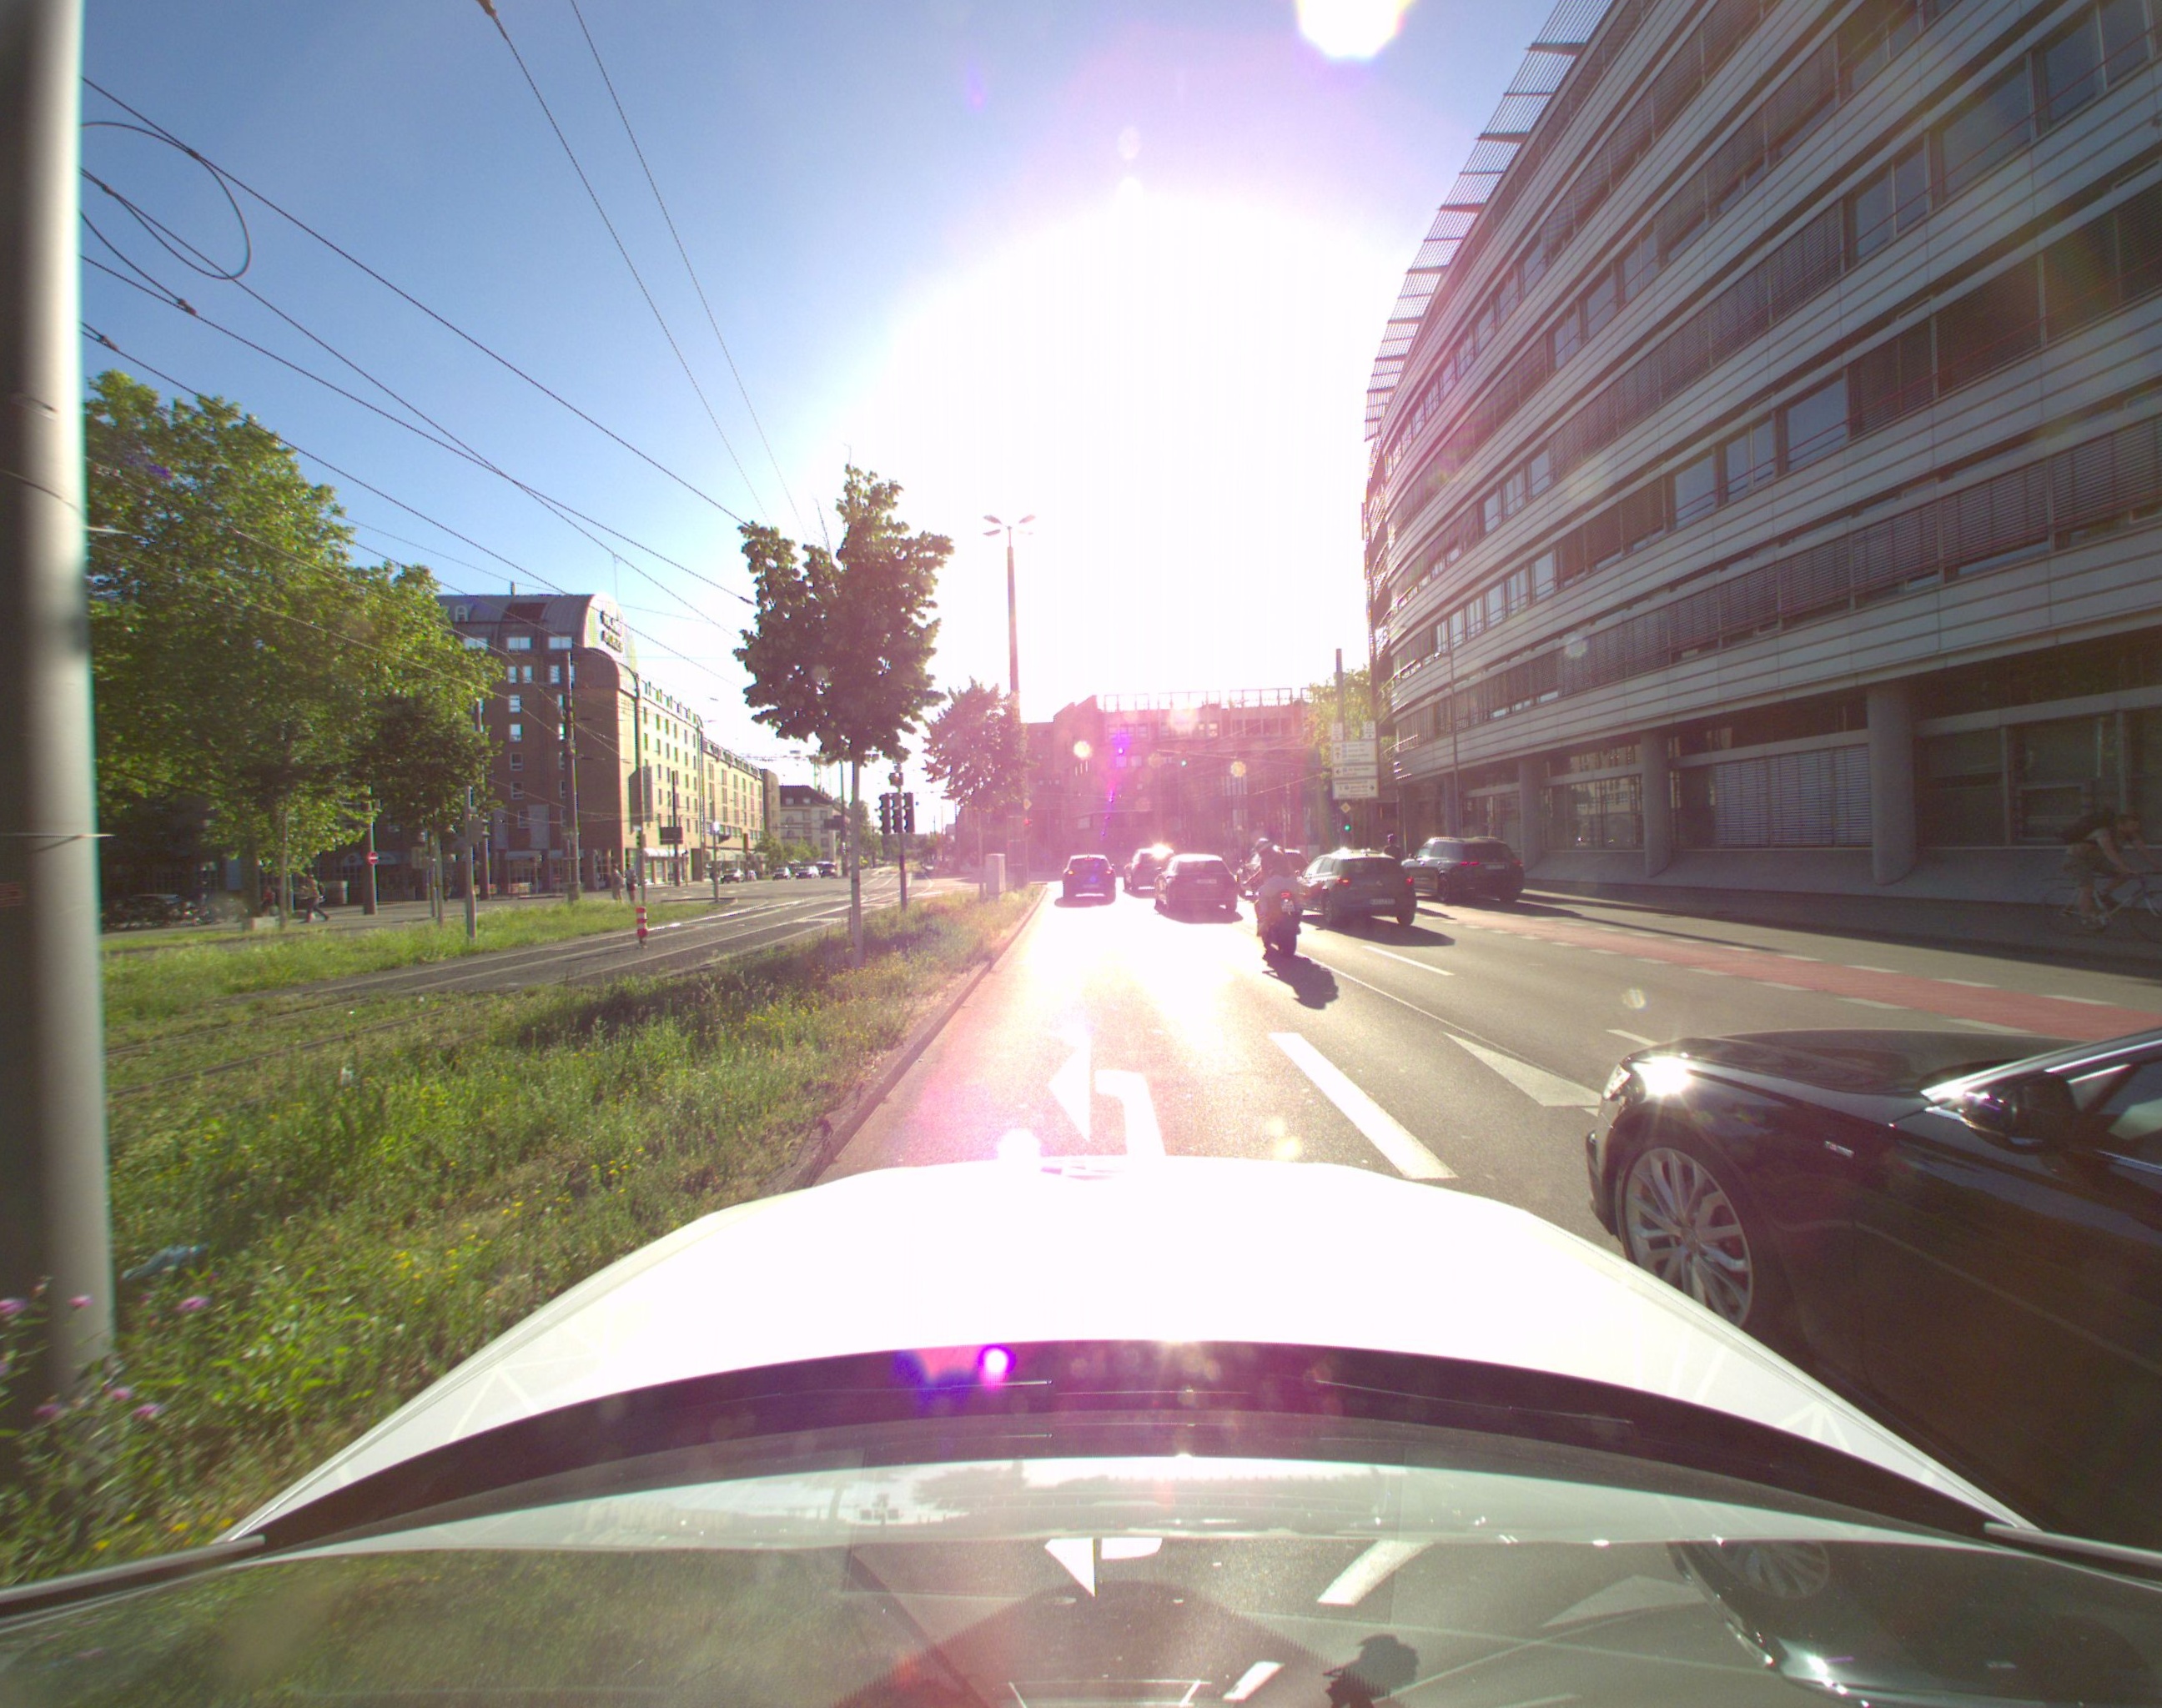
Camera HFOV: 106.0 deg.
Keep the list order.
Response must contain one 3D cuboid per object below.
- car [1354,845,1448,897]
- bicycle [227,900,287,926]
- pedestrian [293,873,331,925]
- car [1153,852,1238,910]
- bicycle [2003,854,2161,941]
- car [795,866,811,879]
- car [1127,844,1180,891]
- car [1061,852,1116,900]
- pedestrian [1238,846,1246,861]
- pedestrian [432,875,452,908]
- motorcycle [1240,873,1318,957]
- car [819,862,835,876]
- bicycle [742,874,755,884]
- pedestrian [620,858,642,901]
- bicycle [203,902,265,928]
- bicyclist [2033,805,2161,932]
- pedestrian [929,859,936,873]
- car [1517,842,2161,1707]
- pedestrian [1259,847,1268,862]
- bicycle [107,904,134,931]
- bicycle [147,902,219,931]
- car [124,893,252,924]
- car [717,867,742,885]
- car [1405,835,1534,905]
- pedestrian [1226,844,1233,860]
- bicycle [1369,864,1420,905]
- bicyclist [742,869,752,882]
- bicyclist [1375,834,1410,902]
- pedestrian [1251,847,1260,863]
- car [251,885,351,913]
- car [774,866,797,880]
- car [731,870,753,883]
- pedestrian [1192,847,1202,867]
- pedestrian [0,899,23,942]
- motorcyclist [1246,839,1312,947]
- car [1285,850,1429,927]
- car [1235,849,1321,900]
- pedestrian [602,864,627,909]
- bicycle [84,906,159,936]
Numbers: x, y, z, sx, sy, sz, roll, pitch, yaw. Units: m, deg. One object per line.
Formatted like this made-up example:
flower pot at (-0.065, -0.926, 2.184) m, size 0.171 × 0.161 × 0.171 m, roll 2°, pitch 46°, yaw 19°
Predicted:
car at (11.185, 0.549, 28.769) m, size 1.984 × 1.651 × 4.005 m, roll -2°, pitch 0°, yaw 4°
bicycle at (-34.368, 2.464, 33.983) m, size 1.764 × 0.951 × 0.540 m, roll -2°, pitch 0°, yaw -8°
pedestrian at (-31.071, 1.807, 32.909) m, size 0.729 × 2.014 × 0.838 m, roll -1°, pitch 0°, yaw 4°
car at (2.953, 0.651, 21.737) m, size 1.731 × 1.349 × 4.001 m, roll -2°, pitch 0°, yaw 1°
bicycle at (13.659, 0.548, 10.957) m, size 0.502 × 1.058 × 1.702 m, roll -4°, pitch -1°, yaw 1°
car at (-33.759, 2.239, 99.001) m, size 1.749 × 1.505 × 3.857 m, roll -2°, pitch 0°, yaw -17°
car at (2.756, 0.495, 31.686) m, size 1.731 × 1.651 × 4.001 m, roll -2°, pitch 0°, yaw 1°
car at (0.272, 0.692, 27.229) m, size 1.643 × 1.433 × 4.001 m, roll -2°, pitch 0°, yaw 1°
pedestrian at (17.763, -0.056, 89.705) m, size 0.734 × 1.617 × 0.562 m, roll -2°, pitch 0°, yaw 8°
pedestrian at (-40.201, 2.333, 51.262) m, size 0.663 × 2.013 × 0.678 m, roll -2°, pitch 0°, yaw 0°
motorcycle at (2.994, 0.887, 12.523) m, size 0.772 × 1.115 × 1.970 m, roll -2°, pitch 0°, yaw 3°
car at (-30.658, 1.792, 98.330) m, size 1.749 × 1.505 × 3.857 m, roll -2°, pitch 0°, yaw -17°
bicycle at (-37.534, 2.809, 91.962) m, size 0.649 × 1.085 × 2.918 m, roll -2°, pitch 0°, yaw -8°
pedestrian at (-19.416, 1.097, 35.122) m, size 0.562 × 1.817 × 0.661 m, roll -2°, pitch 0°, yaw -7°
bicycle at (-34.450, 2.463, 33.144) m, size 1.764 × 0.951 × 0.540 m, roll -2°, pitch 0°, yaw -8°
bicyclist at (13.788, 0.178, 10.992) m, size 0.681 × 1.618 × 0.991 m, roll -2°, pitch 0°, yaw 1°
pedestrian at (-18.700, 1.513, 102.324) m, size 0.743 × 1.640 × 0.764 m, roll -2°, pitch 0°, yaw -14°
car at (2.630, 0.731, 1.138) m, size 1.804 × 1.492 × 4.499 m, roll 0°, pitch 0°, yaw 2°
pedestrian at (19.920, 0.052, 89.055) m, size 0.895 × 1.617 × 0.562 m, roll -2°, pitch 0°, yaw 8°
bicycle at (-36.934, 2.424, 31.309) m, size 1.748 × 0.951 × 0.545 m, roll -2°, pitch 0°, yaw 36°
bicycle at (-34.759, 2.411, 31.563) m, size 1.775 × 0.951 × 0.536 m, roll -2°, pitch 0°, yaw -27°
car at (-43.987, 2.661, 40.176) m, size 3.976 × 1.266 × 1.999 m, roll -2°, pitch 0°, yaw -2°
car at (-41.495, 2.587, 96.199) m, size 1.996 × 2.013 × 3.982 m, roll -2°, pitch 0°, yaw -13°
car at (10.937, 0.397, 23.303) m, size 1.983 × 1.750 × 4.336 m, roll -2°, pitch 0°, yaw 6°
pedestrian at (13.732, -0.152, 75.192) m, size 0.528 × 1.430 × 0.598 m, roll -2°, pitch 0°, yaw -1°
bicycle at (8.487, 0.807, 22.121) m, size 0.490 × 0.997 × 2.328 m, roll -2°, pitch 0°, yaw 1°
bicyclist at (-37.535, 2.394, 91.486) m, size 0.757 × 1.375 × 0.948 m, roll -2°, pitch 0°, yaw -8°
bicyclist at (8.473, 0.369, 22.181) m, size 0.575 × 1.791 × 0.863 m, roll -2°, pitch 0°, yaw 0°
pedestrian at (18.800, 0.113, 87.836) m, size 0.895 × 1.617 × 0.562 m, roll -2°, pitch 0°, yaw 8°
car at (-46.075, 2.653, 48.173) m, size 3.983 × 1.420 × 1.756 m, roll -2°, pitch 0°, yaw -7°
car at (-36.021, 2.263, 99.335) m, size 1.996 × 1.596 × 4.717 m, roll -2°, pitch 0°, yaw -13°
car at (-43.049, 2.809, 103.581) m, size 1.887 × 1.510 × 3.982 m, roll -2°, pitch 0°, yaw -13°
pedestrian at (10.744, 0.267, 75.200) m, size 0.700 × 1.759 × 0.564 m, roll -2°, pitch 0°, yaw 25°
pedestrian at (-41.327, 2.558, 31.099) m, size 0.729 × 1.597 × 0.838 m, roll -1°, pitch 0°, yaw 4°
motorcyclist at (2.950, 0.553, 12.217) m, size 0.741 × 1.530 × 1.022 m, roll -2°, pitch 0°, yaw 4°
car at (5.795, 0.653, 17.625) m, size 1.801 × 1.457 × 4.000 m, roll -1°, pitch 0°, yaw 1°
car at (6.114, 0.600, 25.755) m, size 1.801 × 1.457 × 4.000 m, roll -1°, pitch 0°, yaw 1°
pedestrian at (-19.427, 1.356, 33.941) m, size 0.631 × 1.830 × 0.661 m, roll -2°, pitch 0°, yaw -7°
bicycle at (-35.261, 2.460, 29.956) m, size 1.769 × 0.951 × 0.538 m, roll -2°, pitch 0°, yaw -16°
